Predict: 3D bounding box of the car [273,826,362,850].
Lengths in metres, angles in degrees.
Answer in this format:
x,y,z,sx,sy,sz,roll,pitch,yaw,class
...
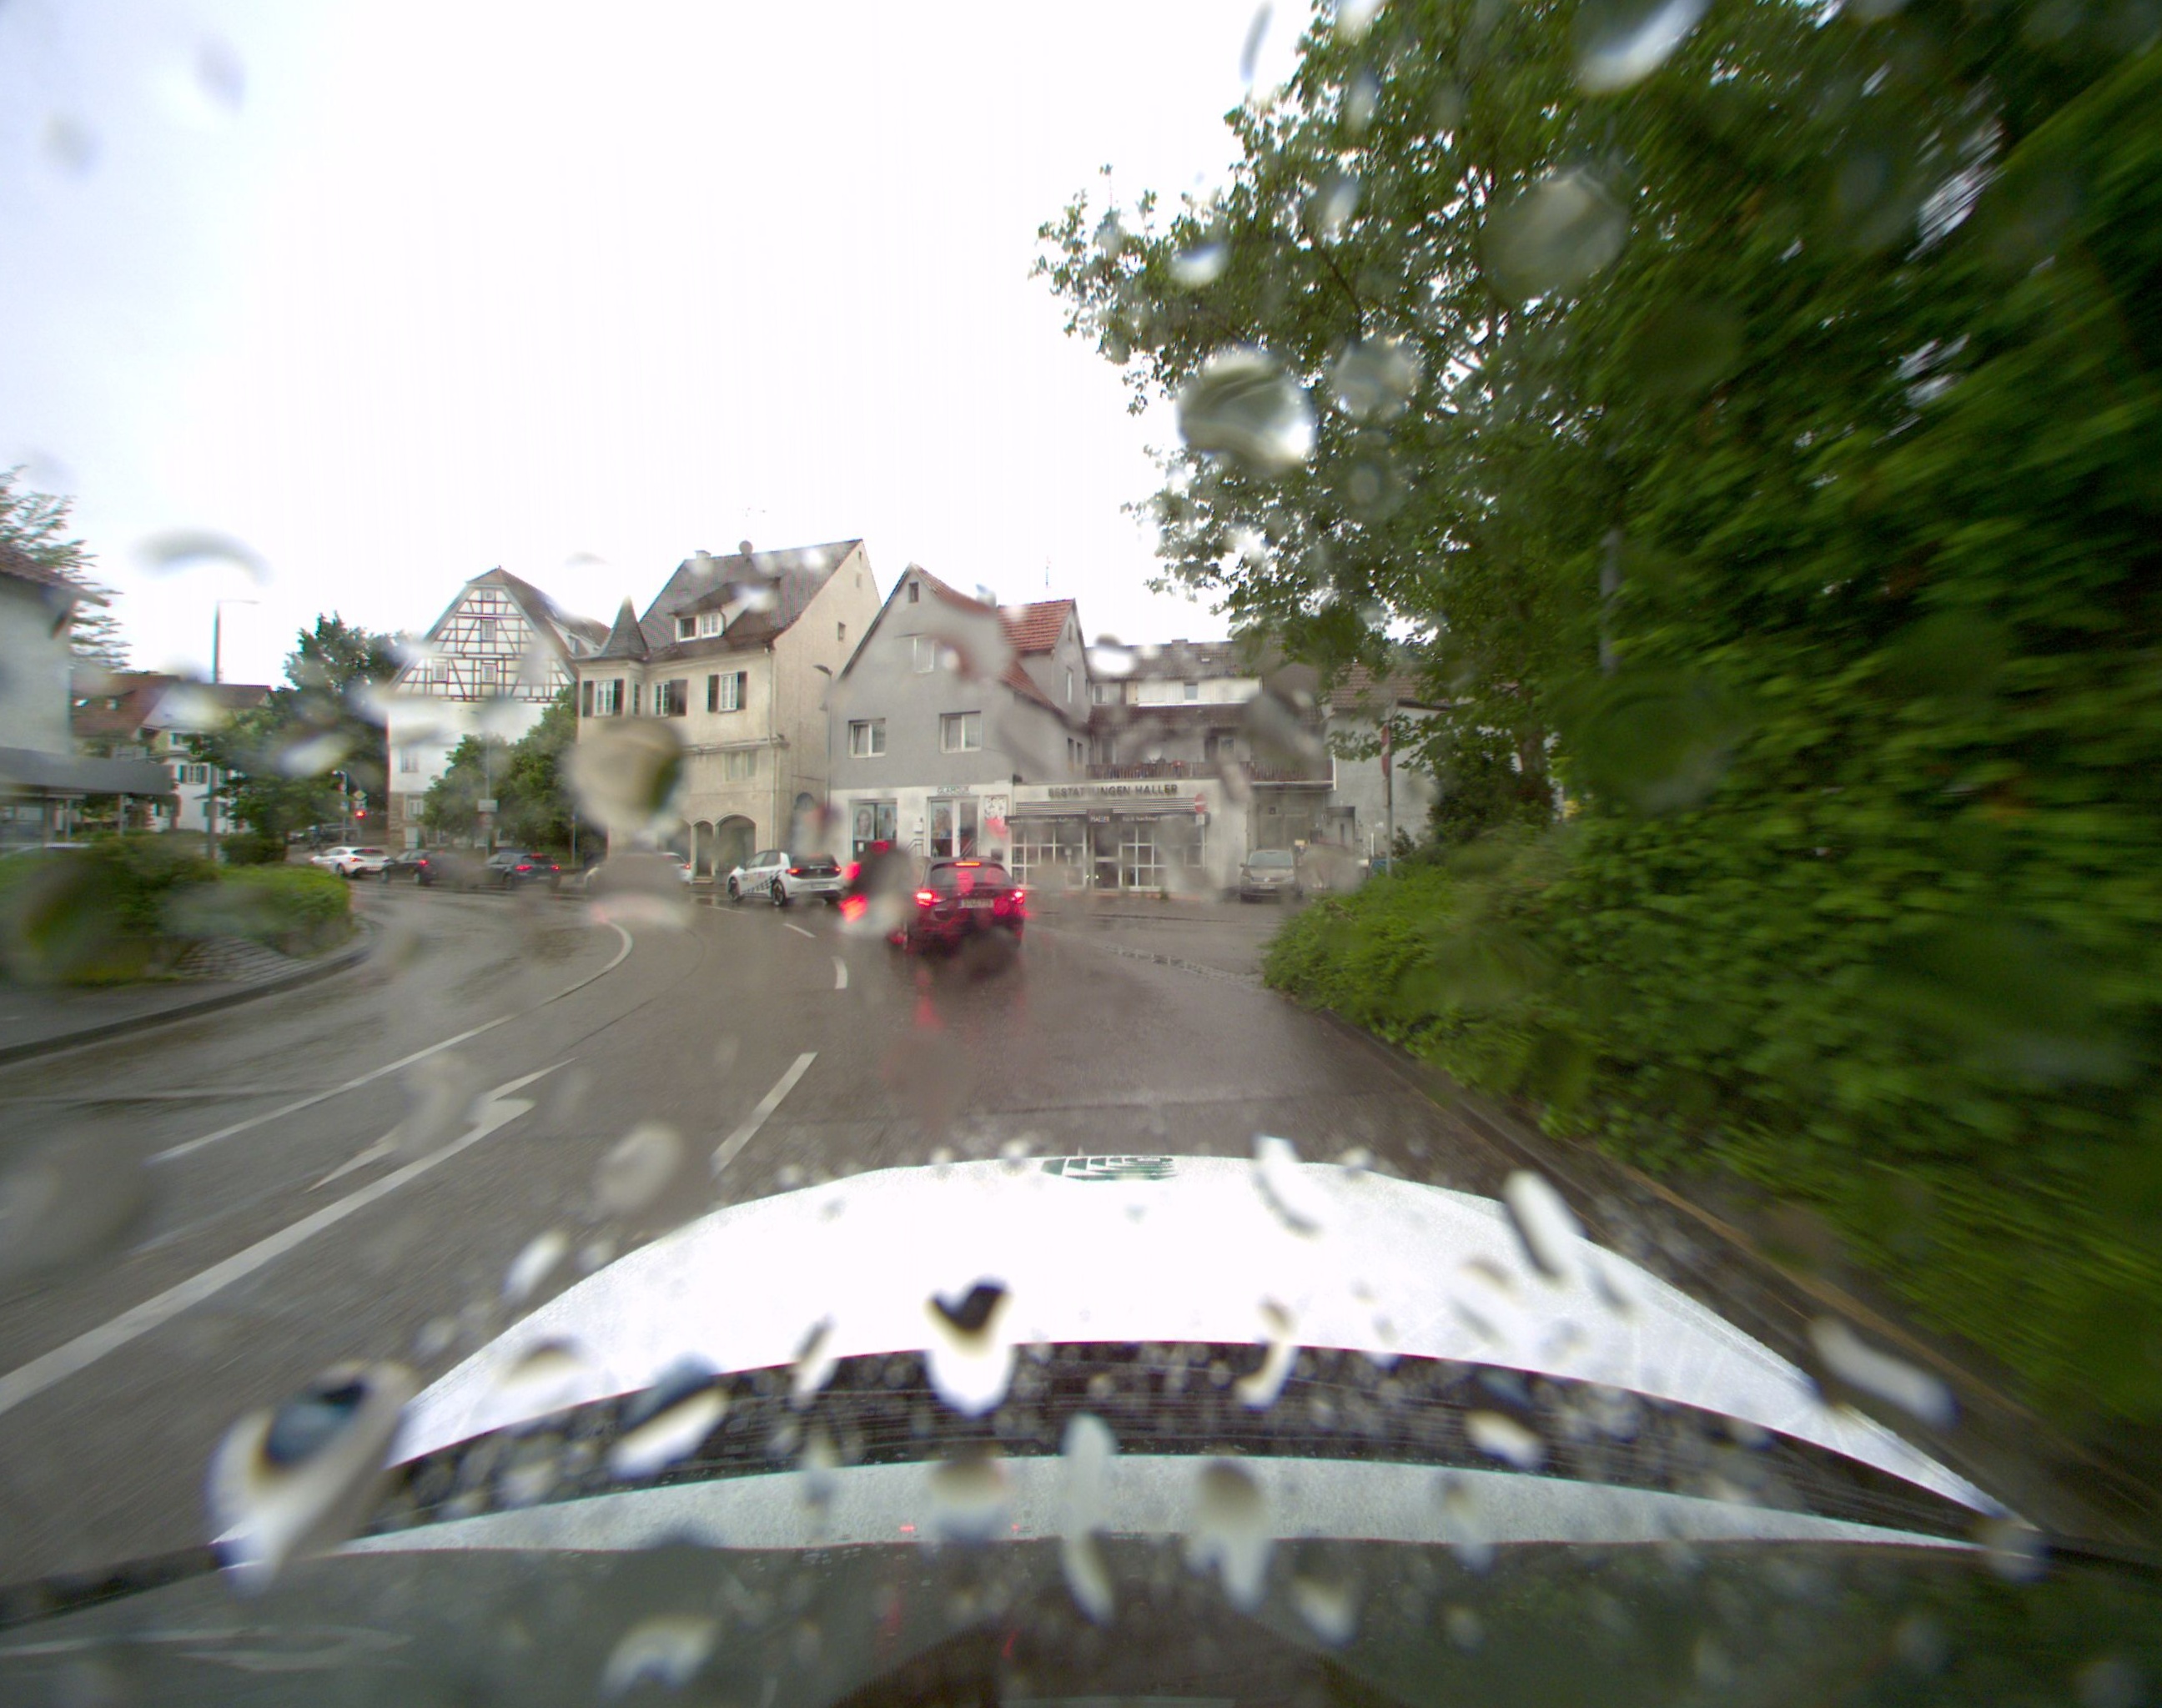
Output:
x,y,z,sx,sy,sz,roll,pitch,yaw,class
-55.003,-1.130,58.776,1.637,1.390,4.539,7,1,7,car

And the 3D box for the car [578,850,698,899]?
x,y,z,sx,sy,sz,roll,pitch,yaw,class
-15.166,0.649,27.835,4.111,1.465,1.803,1,2,32,car

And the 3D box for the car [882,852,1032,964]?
x,y,z,sx,sy,sz,roll,pitch,yaw,class
-2.224,0.746,13.588,1.738,1.450,4.214,0,1,-19,car

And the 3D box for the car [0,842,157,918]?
x,y,z,sx,sy,sz,roll,pitch,yaw,class
-24.901,0.571,19.351,1.698,1.685,3.545,0,1,7,car

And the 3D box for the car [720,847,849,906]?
x,y,z,sx,sy,sz,roll,pitch,yaw,class
-8.561,0.578,23.346,4.188,1.517,1.805,0,1,44,car

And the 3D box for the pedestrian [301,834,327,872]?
x,y,z,sx,sy,sz,roll,pitch,yaw,class
-47.555,-0.041,50.502,1.215,2.326,0.873,-1,-1,30,pedestrian

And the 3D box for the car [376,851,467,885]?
x,y,z,sx,sy,sz,roll,pitch,yaw,class
-28.124,0.567,34.720,3.578,1.312,1.678,1,2,27,car

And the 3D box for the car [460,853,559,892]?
x,y,z,sx,sy,sz,roll,pitch,yaw,class
-22.321,0.692,31.800,3.721,1.361,1.533,1,2,26,car

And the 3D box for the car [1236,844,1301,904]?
x,y,z,sx,sy,sz,roll,pitch,yaw,class
6.279,0.572,26.893,1.909,1.727,4.688,0,1,15,car

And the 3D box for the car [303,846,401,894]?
x,y,z,sx,sy,sz,roll,pitch,yaw,class
-33.957,0.706,37.938,3.912,2.090,1.991,1,2,26,car
